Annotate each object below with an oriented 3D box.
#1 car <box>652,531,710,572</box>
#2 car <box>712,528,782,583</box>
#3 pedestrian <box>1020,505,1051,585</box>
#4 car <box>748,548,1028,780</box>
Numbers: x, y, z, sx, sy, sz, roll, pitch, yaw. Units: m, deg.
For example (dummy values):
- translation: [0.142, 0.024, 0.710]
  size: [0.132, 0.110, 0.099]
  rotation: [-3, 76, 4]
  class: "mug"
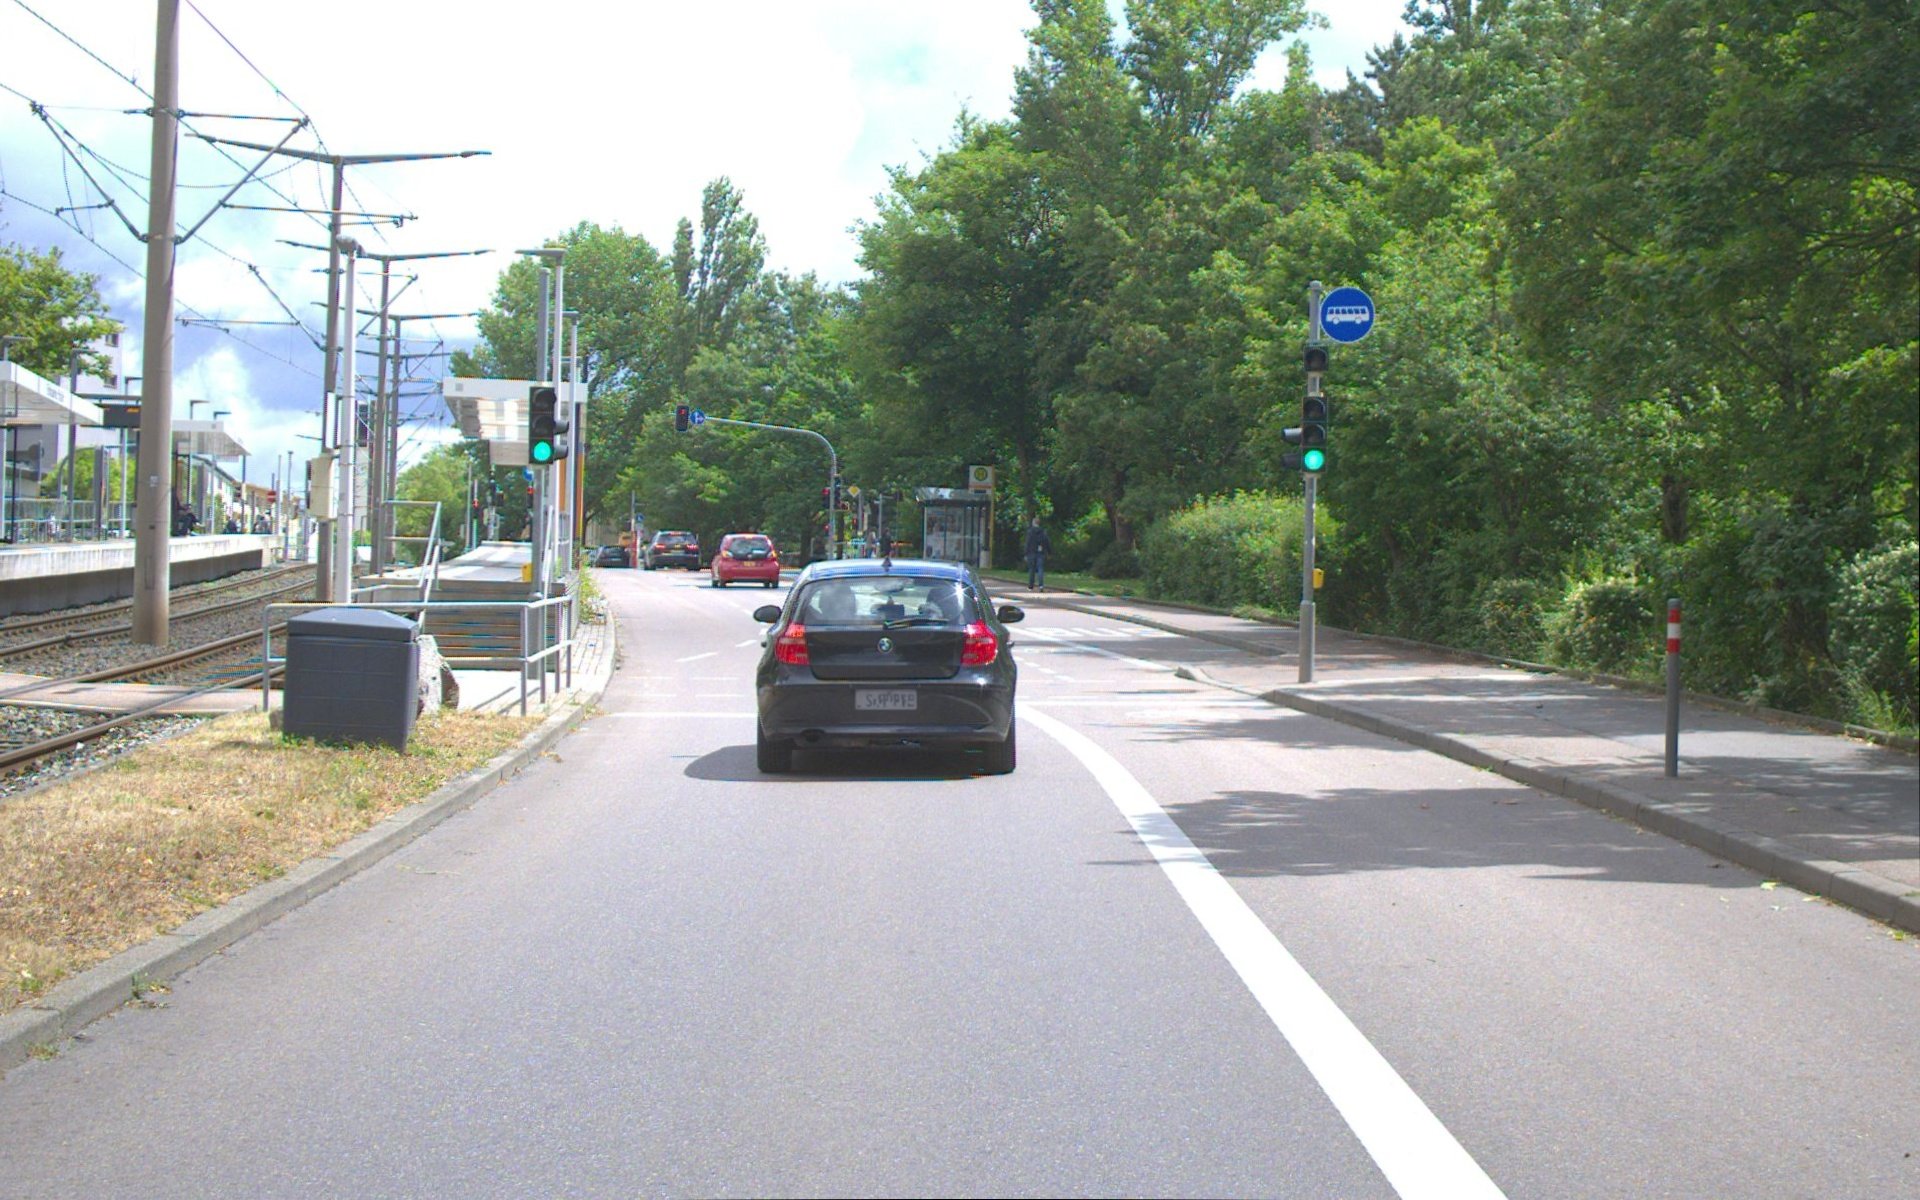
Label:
- translation: [-10.213, -1.789, 125.684]
  size: [1.909, 1.454, 4.003]
  rotation: [1, 1, -7]
  class: "car"
- translation: [-5.789, -1.219, 93.255]
  size: [1.781, 1.454, 3.922]
  rotation: [1, 1, -5]
  class: "car"
- translation: [1.912, -1.396, 87.077]
  size: [0.740, 2.007, 0.681]
  rotation: [1, 1, -1]
  class: "pedestrian"
- translation: [-0.571, 0.376, 23.829]
  size: [1.781, 1.454, 3.922]
  rotation: [0, 1, -3]
  class: "car"
